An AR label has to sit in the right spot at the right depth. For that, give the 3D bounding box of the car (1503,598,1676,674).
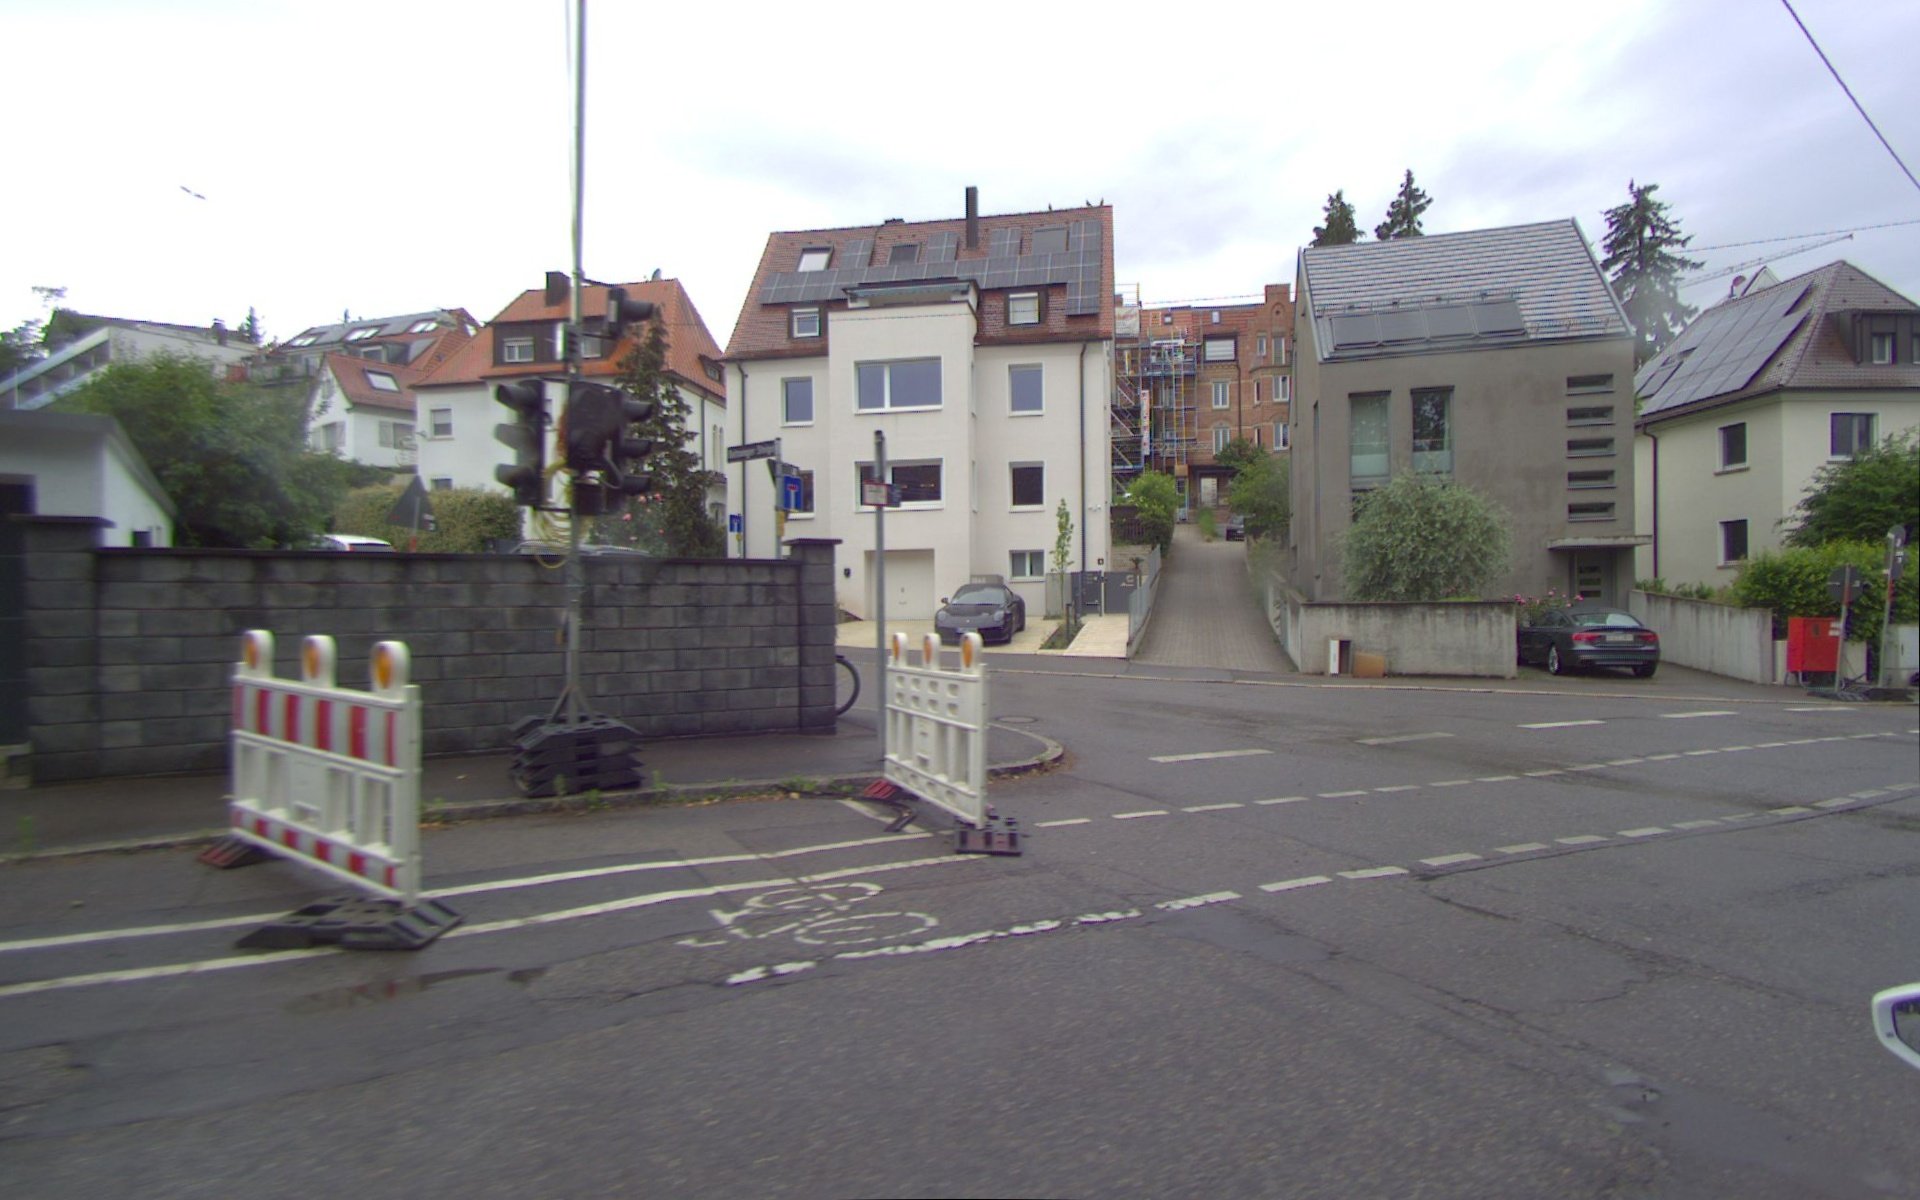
[{"bbox_3d":[13.448,0.694,21.753,1.802,1.463,4.002,0,0,11],"label":"car"}]

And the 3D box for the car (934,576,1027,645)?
[{"bbox_3d":[0.579,0.229,24.862,1.700,1.528,3.821,1,0,10],"label":"car"}]

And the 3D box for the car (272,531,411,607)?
[{"bbox_3d":[-17.473,-0.891,28.342,3.933,1.769,1.863,6,2,35],"label":"car"}]

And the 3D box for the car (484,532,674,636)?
[{"bbox_3d":[-8.535,-0.370,22.434,3.933,1.945,1.994,6,2,34],"label":"car"}]

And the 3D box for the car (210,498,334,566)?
[{"bbox_3d":[-21.677,-2.152,31.618,3.933,1.769,1.863,6,2,35],"label":"car"}]

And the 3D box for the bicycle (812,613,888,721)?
[{"bbox_3d":[-1.328,0.761,11.902,0.457,1.139,1.510,3,1,-22],"label":"bicycle"}]

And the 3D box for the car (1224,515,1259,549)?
[{"bbox_3d":[15.137,-3.619,54.059,1.746,1.483,3.618,0,-1,15],"label":"car"}]
